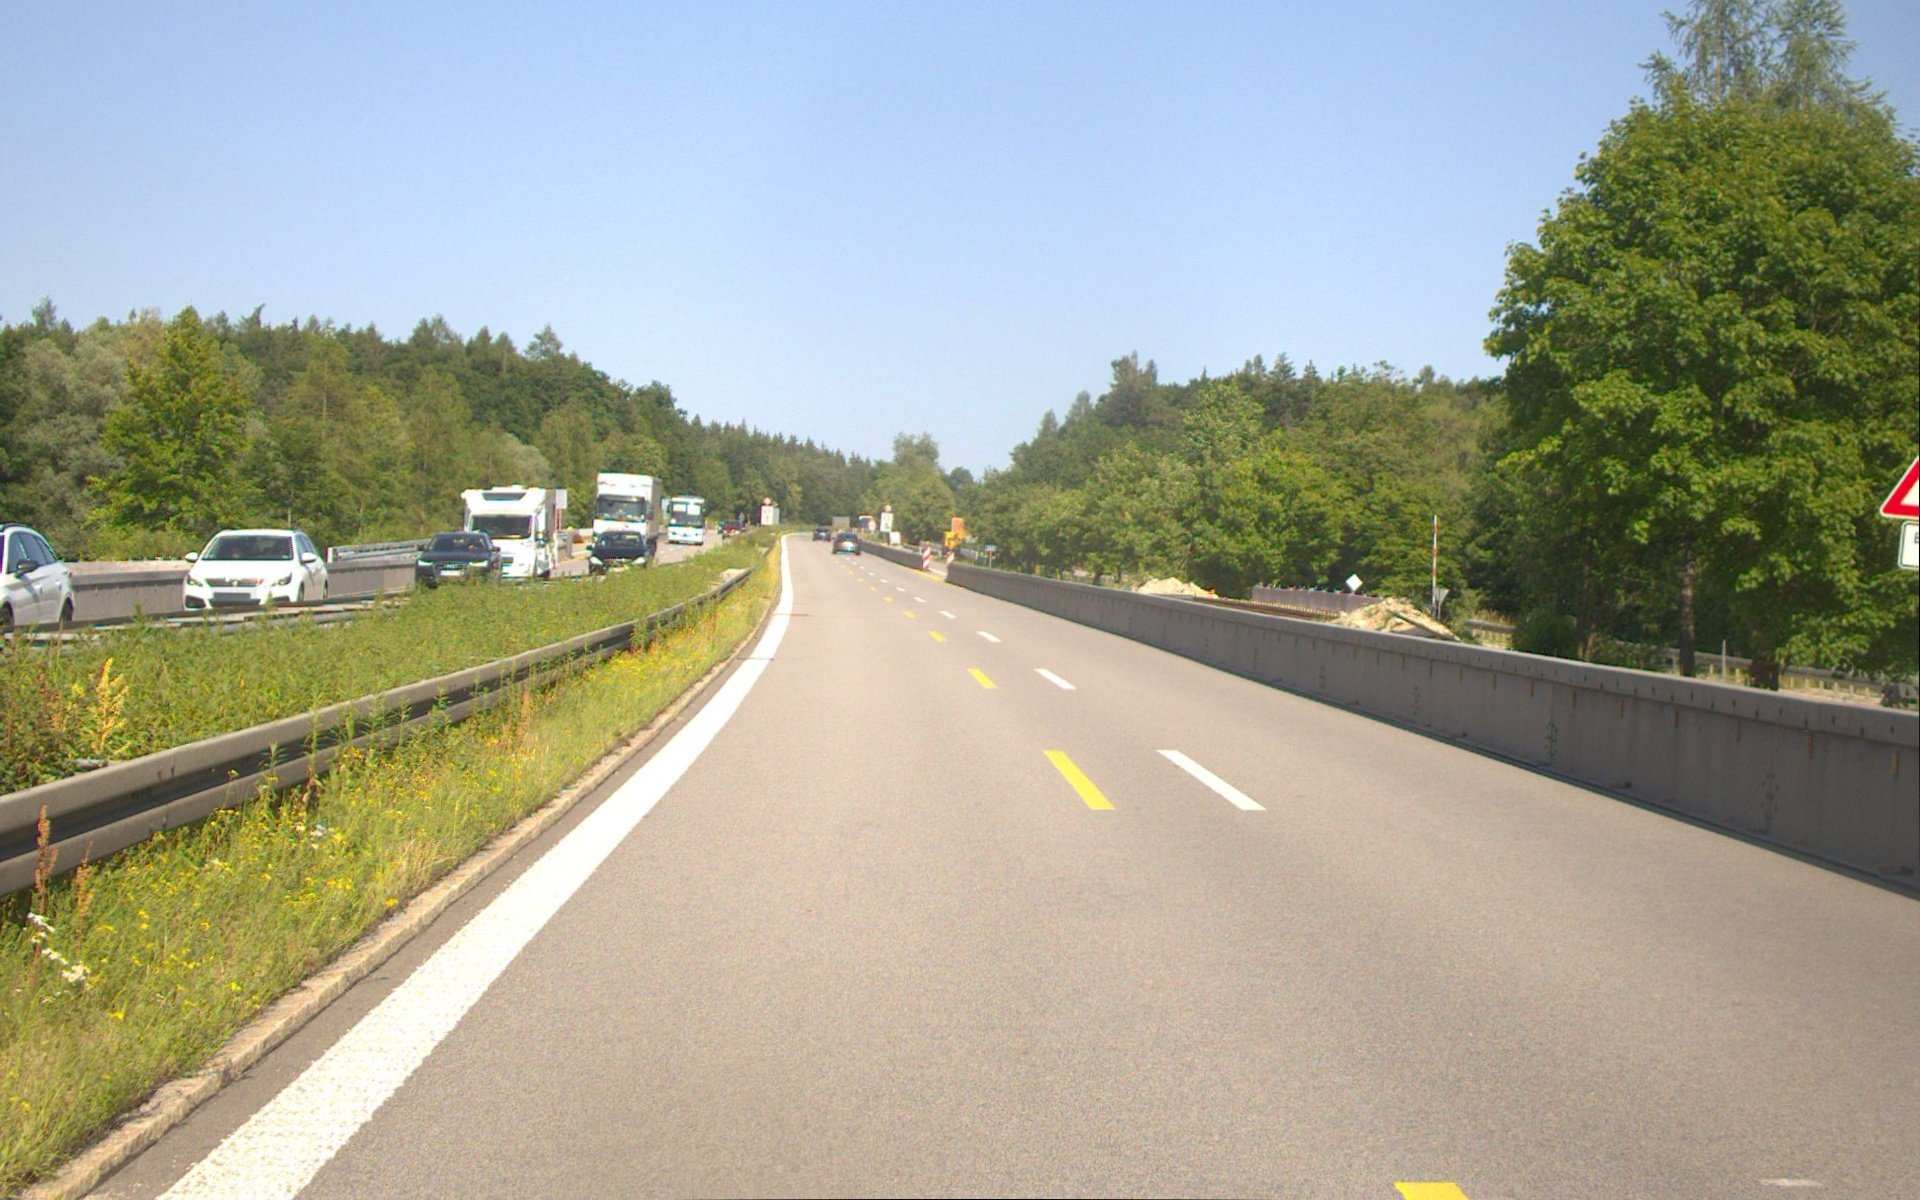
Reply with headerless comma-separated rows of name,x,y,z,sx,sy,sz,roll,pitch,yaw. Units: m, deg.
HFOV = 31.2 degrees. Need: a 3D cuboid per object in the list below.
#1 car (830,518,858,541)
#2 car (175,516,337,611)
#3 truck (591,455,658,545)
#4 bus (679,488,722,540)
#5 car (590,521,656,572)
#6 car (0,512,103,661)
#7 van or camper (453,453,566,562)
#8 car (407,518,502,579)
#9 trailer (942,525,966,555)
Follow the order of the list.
car,-7.694,-4.686,228.113,1.743,1.461,4.294,3,1,-3
car,-11.073,-0.612,54.381,1.701,1.427,4.956,0,1,-2
truck,-15.526,-4.632,159.548,2.770,4.074,5.476,1,1,-3
bus,-19.561,-6.479,259.888,2.881,3.658,12.920,3,1,-4
car,-10.284,-1.649,105.135,1.741,1.525,4.000,0,1,-1
car,-10.213,-0.189,34.935,1.883,1.427,4.984,2,1,-2
van or camper,-12.964,-2.657,99.386,2.406,2.940,7.523,2,1,-2
car,-12.558,-1.297,85.658,1.741,1.427,5.236,-1,1,-2
trailer,-0.410,-3.878,223.249,1.125,1.867,4.001,3,1,-5
